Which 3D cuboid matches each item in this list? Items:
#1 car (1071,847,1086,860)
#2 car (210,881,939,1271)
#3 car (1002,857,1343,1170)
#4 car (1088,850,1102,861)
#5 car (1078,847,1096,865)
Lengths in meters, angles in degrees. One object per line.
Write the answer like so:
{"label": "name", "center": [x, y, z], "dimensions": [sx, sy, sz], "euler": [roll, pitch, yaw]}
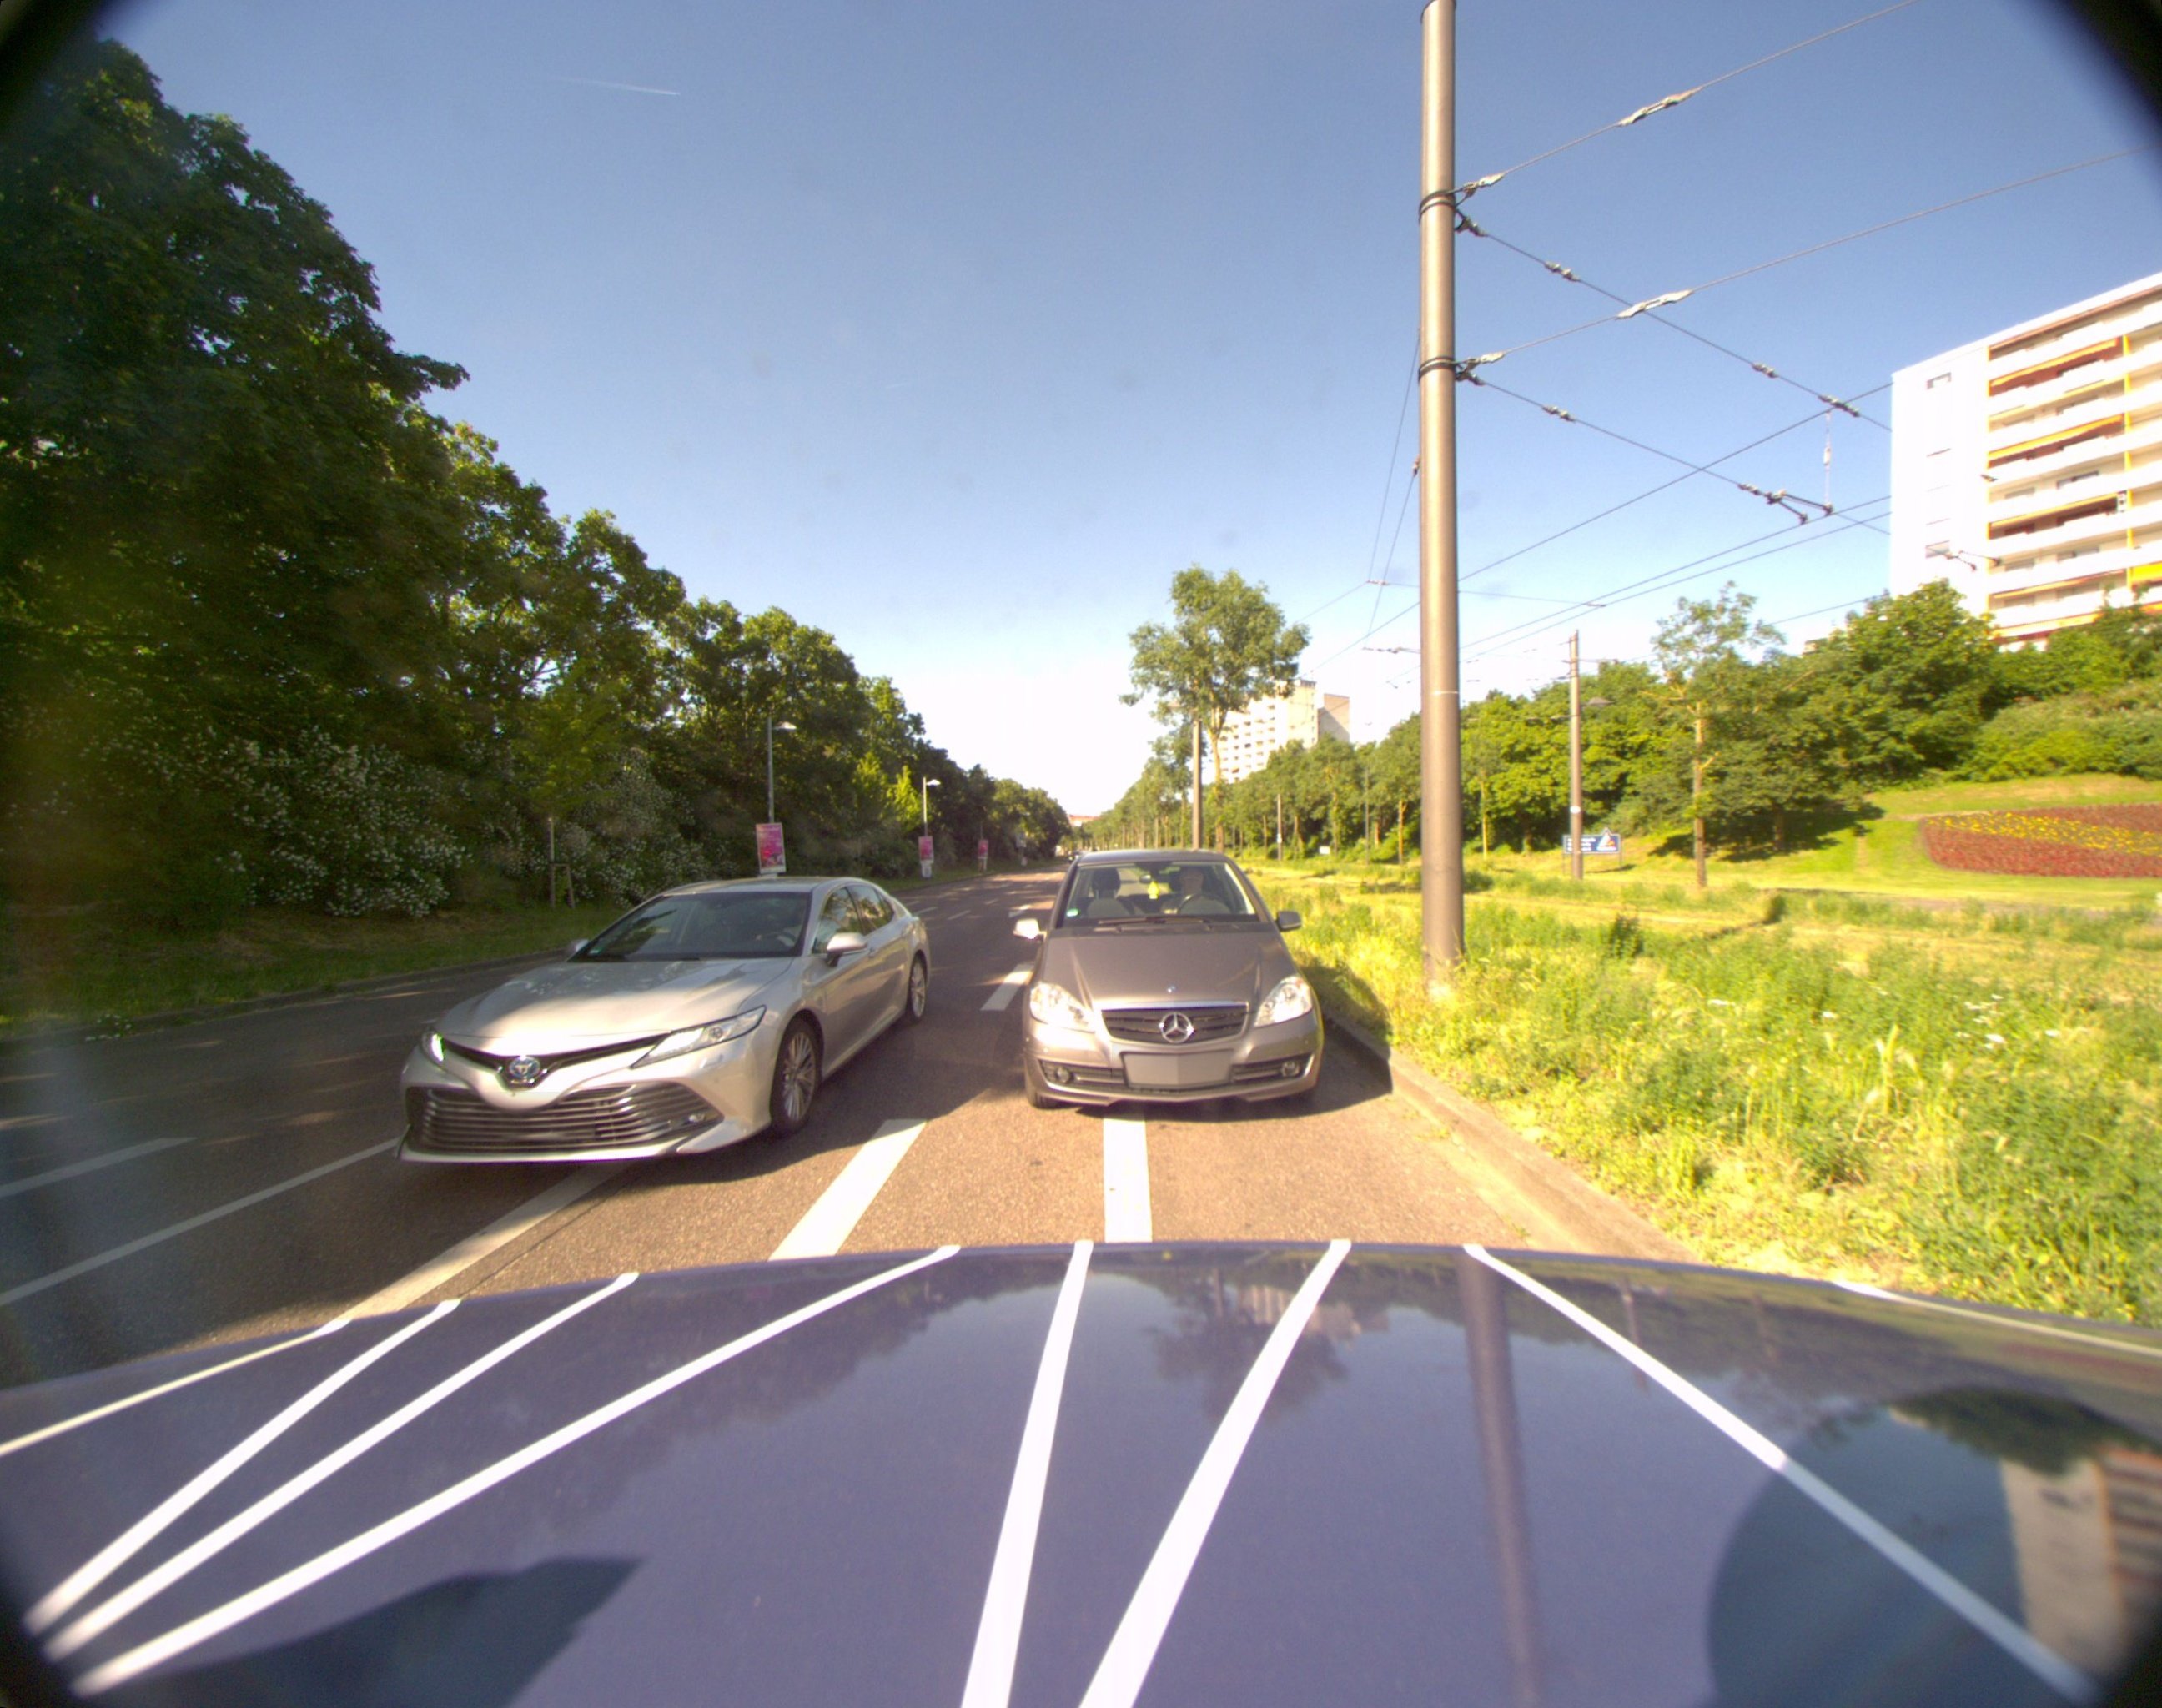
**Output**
{"label": "car", "center": [-0.390, -0.074, 113.488], "dimensions": [1.998, 1.882, 5.148], "euler": [-1, 0, 1]}
{"label": "car", "center": [-2.601, 1.038, 5.602], "dimensions": [2.069, 1.451, 4.749], "euler": [-1, 0, 2]}
{"label": "car", "center": [0.513, 0.853, 6.203], "dimensions": [1.777, 1.597, 4.384], "euler": [-1, 0, 1]}
{"label": "car", "center": [1.890, 0.206, 100.650], "dimensions": [1.776, 1.395, 4.067], "euler": [-1, 0, 2]}
{"label": "car", "center": [0.649, 0.165, 82.214], "dimensions": [1.822, 1.893, 4.622], "euler": [-1, 0, 2]}
